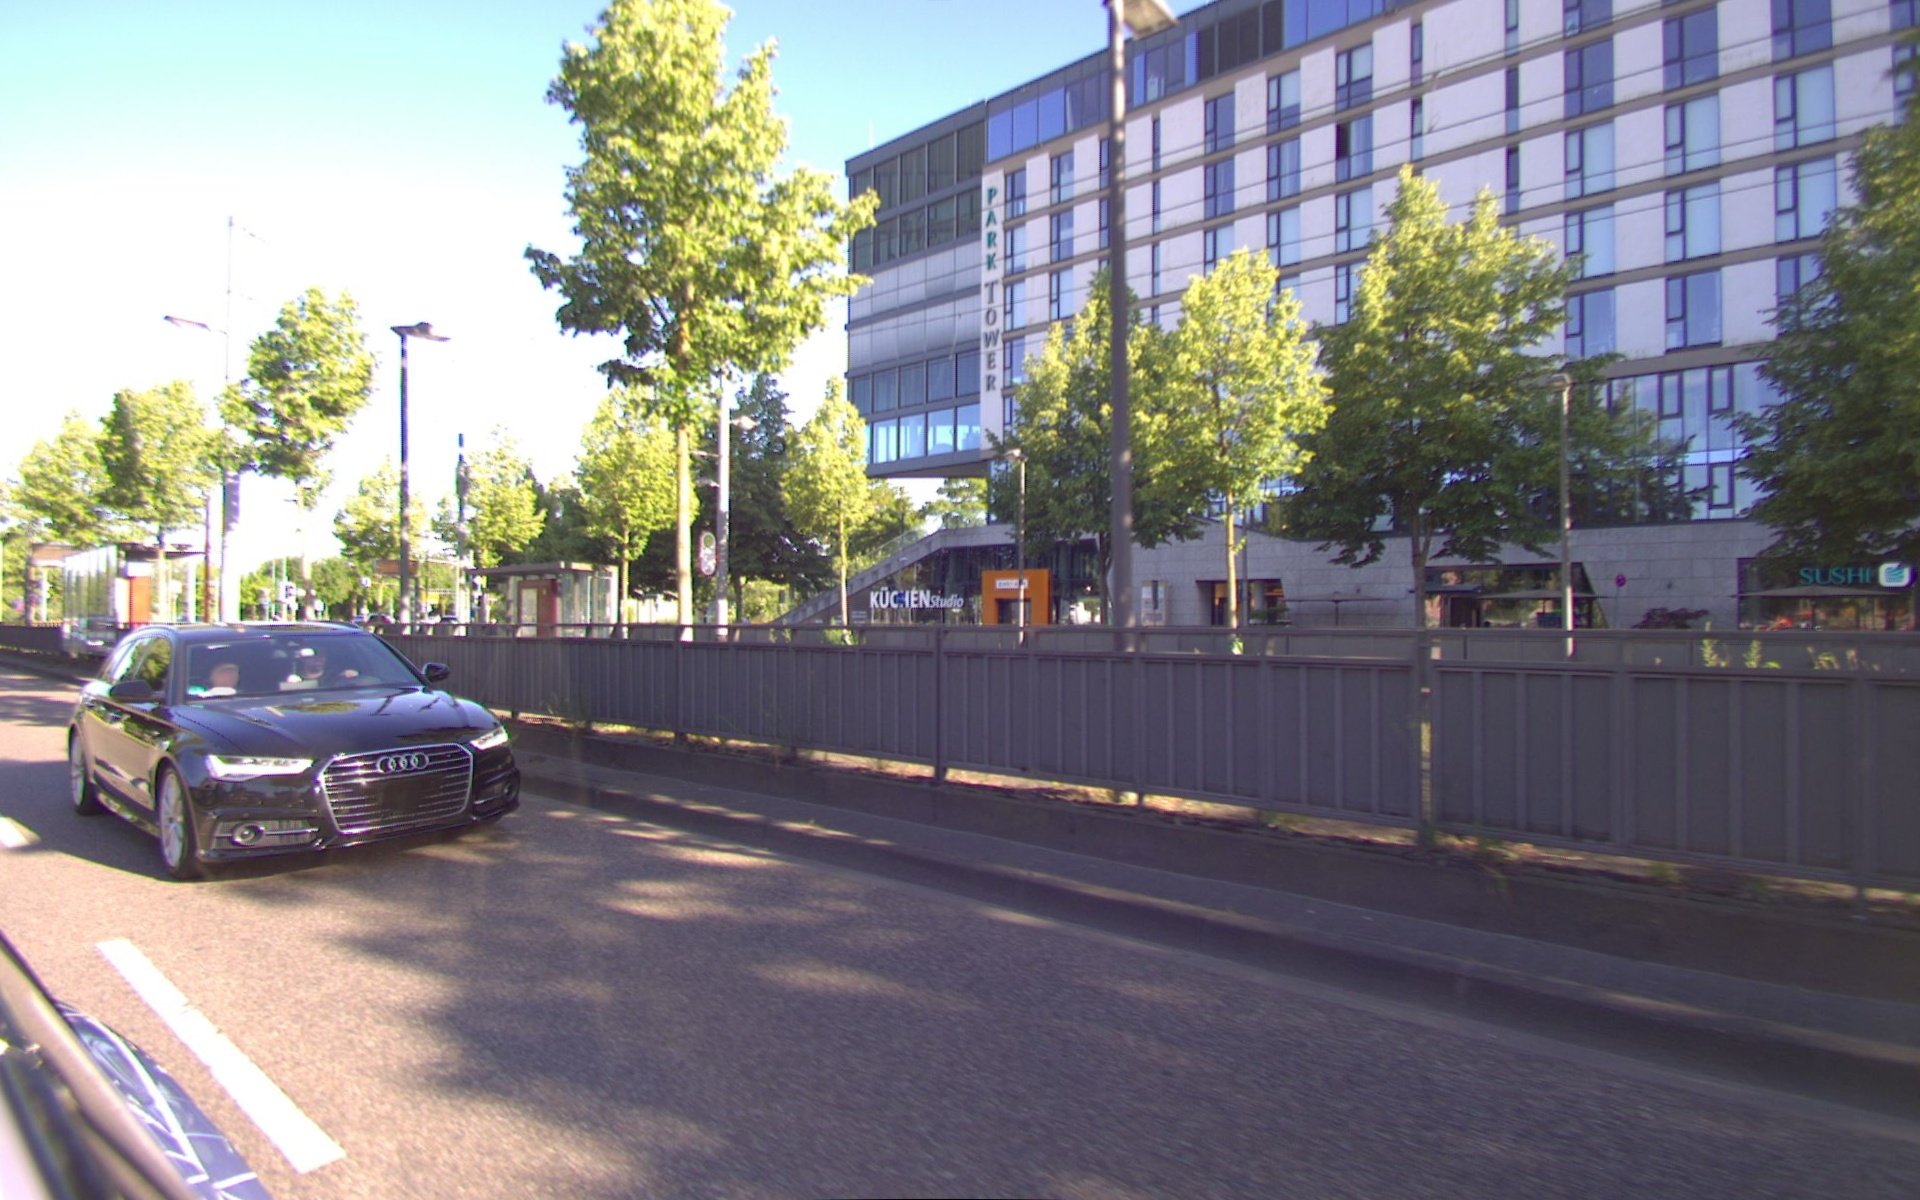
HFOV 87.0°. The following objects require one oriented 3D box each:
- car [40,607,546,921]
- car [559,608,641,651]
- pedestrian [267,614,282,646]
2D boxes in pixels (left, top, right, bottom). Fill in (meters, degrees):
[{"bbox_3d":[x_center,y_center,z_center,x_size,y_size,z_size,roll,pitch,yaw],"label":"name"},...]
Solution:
[{"bbox_3d":[-4.915,0.843,7.153,4.597,1.538,1.766,-1,-1,40],"label":"car"},{"bbox_3d":[-15.134,1.198,42.459,3.774,1.678,1.599,1,0,42],"label":"car"},{"bbox_3d":[-35.515,1.544,52.451,0.810,1.590,0.413,1,0,38],"label":"pedestrian"}]
